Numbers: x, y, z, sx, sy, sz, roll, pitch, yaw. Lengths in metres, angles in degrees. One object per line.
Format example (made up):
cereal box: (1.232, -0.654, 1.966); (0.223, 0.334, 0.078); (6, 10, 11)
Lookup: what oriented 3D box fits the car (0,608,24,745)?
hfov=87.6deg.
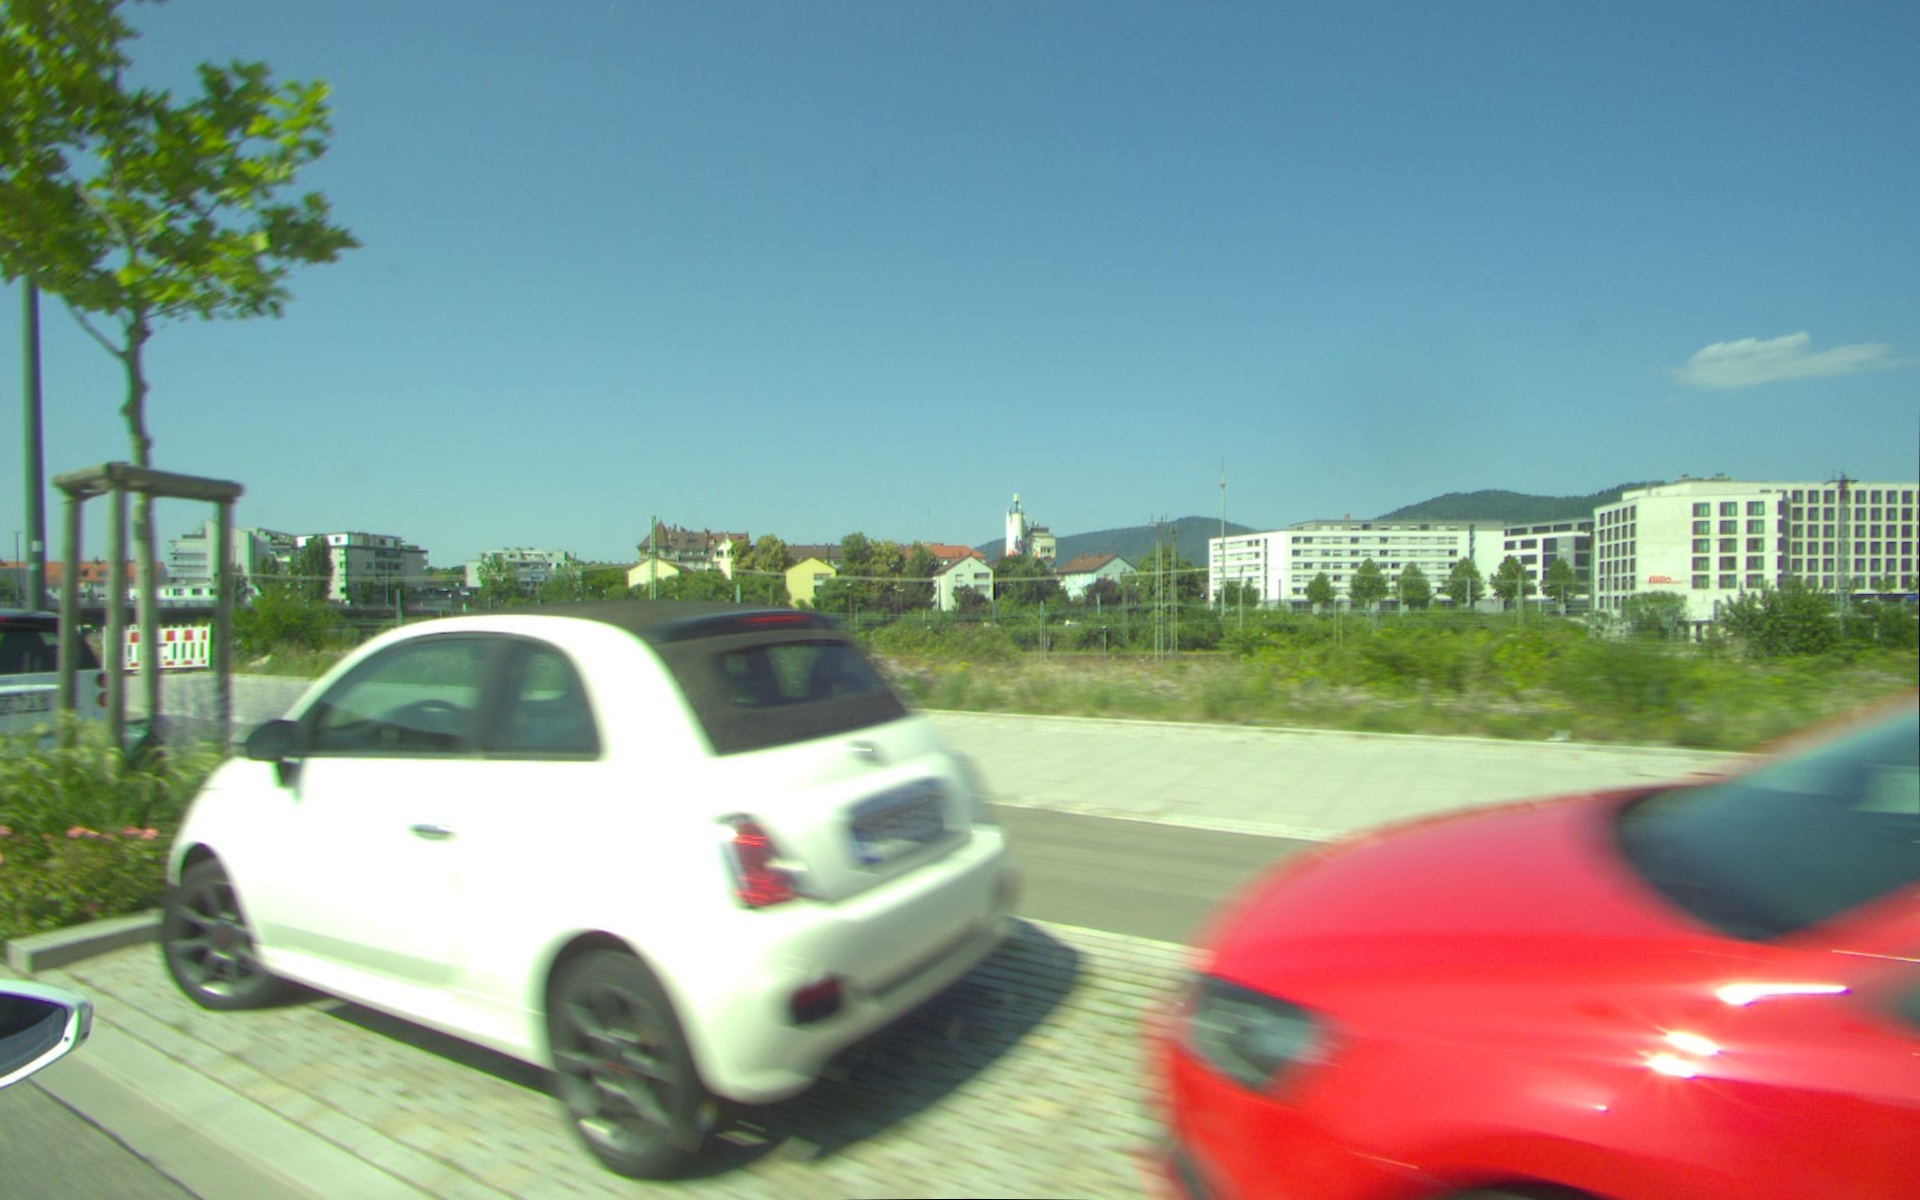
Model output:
car: (-12.794, 0.921, 11.448); (4.306, 1.496, 1.786); (-2, 1, 29)

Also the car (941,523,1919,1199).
car: (2.086, 0.676, 1.649); (3.942, 1.470, 1.715); (1, -1, 32)

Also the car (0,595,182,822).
car: (-8.359, 0.791, 8.318); (4.102, 1.598, 1.903); (-1, -1, 35)

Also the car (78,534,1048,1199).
car: (-1.667, 0.678, 3.933); (3.591, 1.544, 1.713); (-3, 0, 32)
